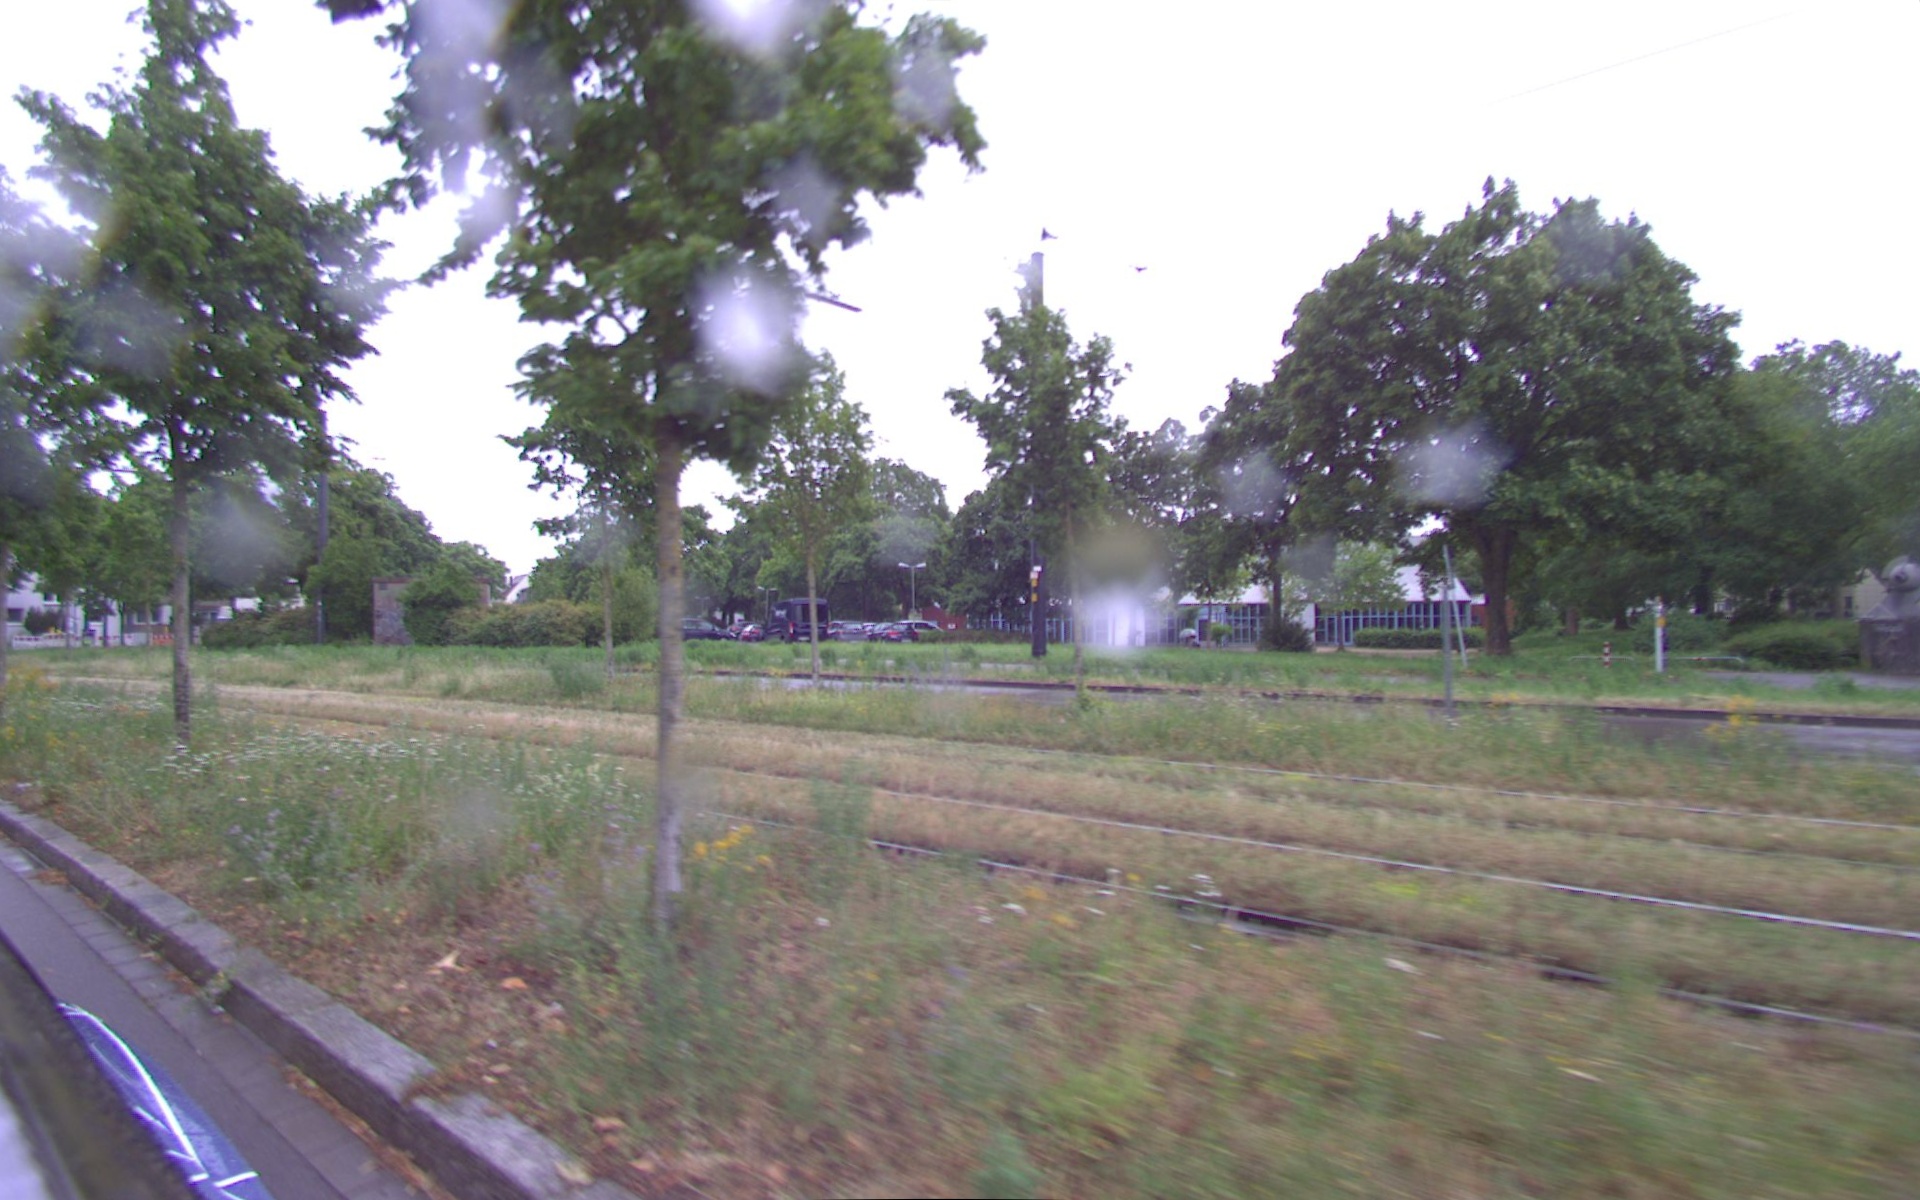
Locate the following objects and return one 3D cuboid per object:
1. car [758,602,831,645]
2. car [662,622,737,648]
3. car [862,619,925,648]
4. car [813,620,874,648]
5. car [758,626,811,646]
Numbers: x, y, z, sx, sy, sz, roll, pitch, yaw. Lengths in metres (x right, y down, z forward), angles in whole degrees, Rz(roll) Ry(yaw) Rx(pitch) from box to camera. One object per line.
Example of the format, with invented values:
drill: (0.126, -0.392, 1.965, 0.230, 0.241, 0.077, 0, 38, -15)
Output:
car: (-8.023, 1.173, 48.644, 2.002, 1.962, 4.729, 1, -2, -29)
car: (-15.174, 2.008, 58.933, 3.991, 1.445, 1.696, 0, -1, -22)
car: (-3.387, 1.694, 50.961, 1.805, 1.349, 4.111, 0, -2, -25)
car: (-5.807, 1.689, 50.204, 1.805, 1.349, 4.111, 0, -2, -25)
car: (-14.440, 2.976, 83.315, 3.992, 1.586, 1.696, 0, -2, -31)
